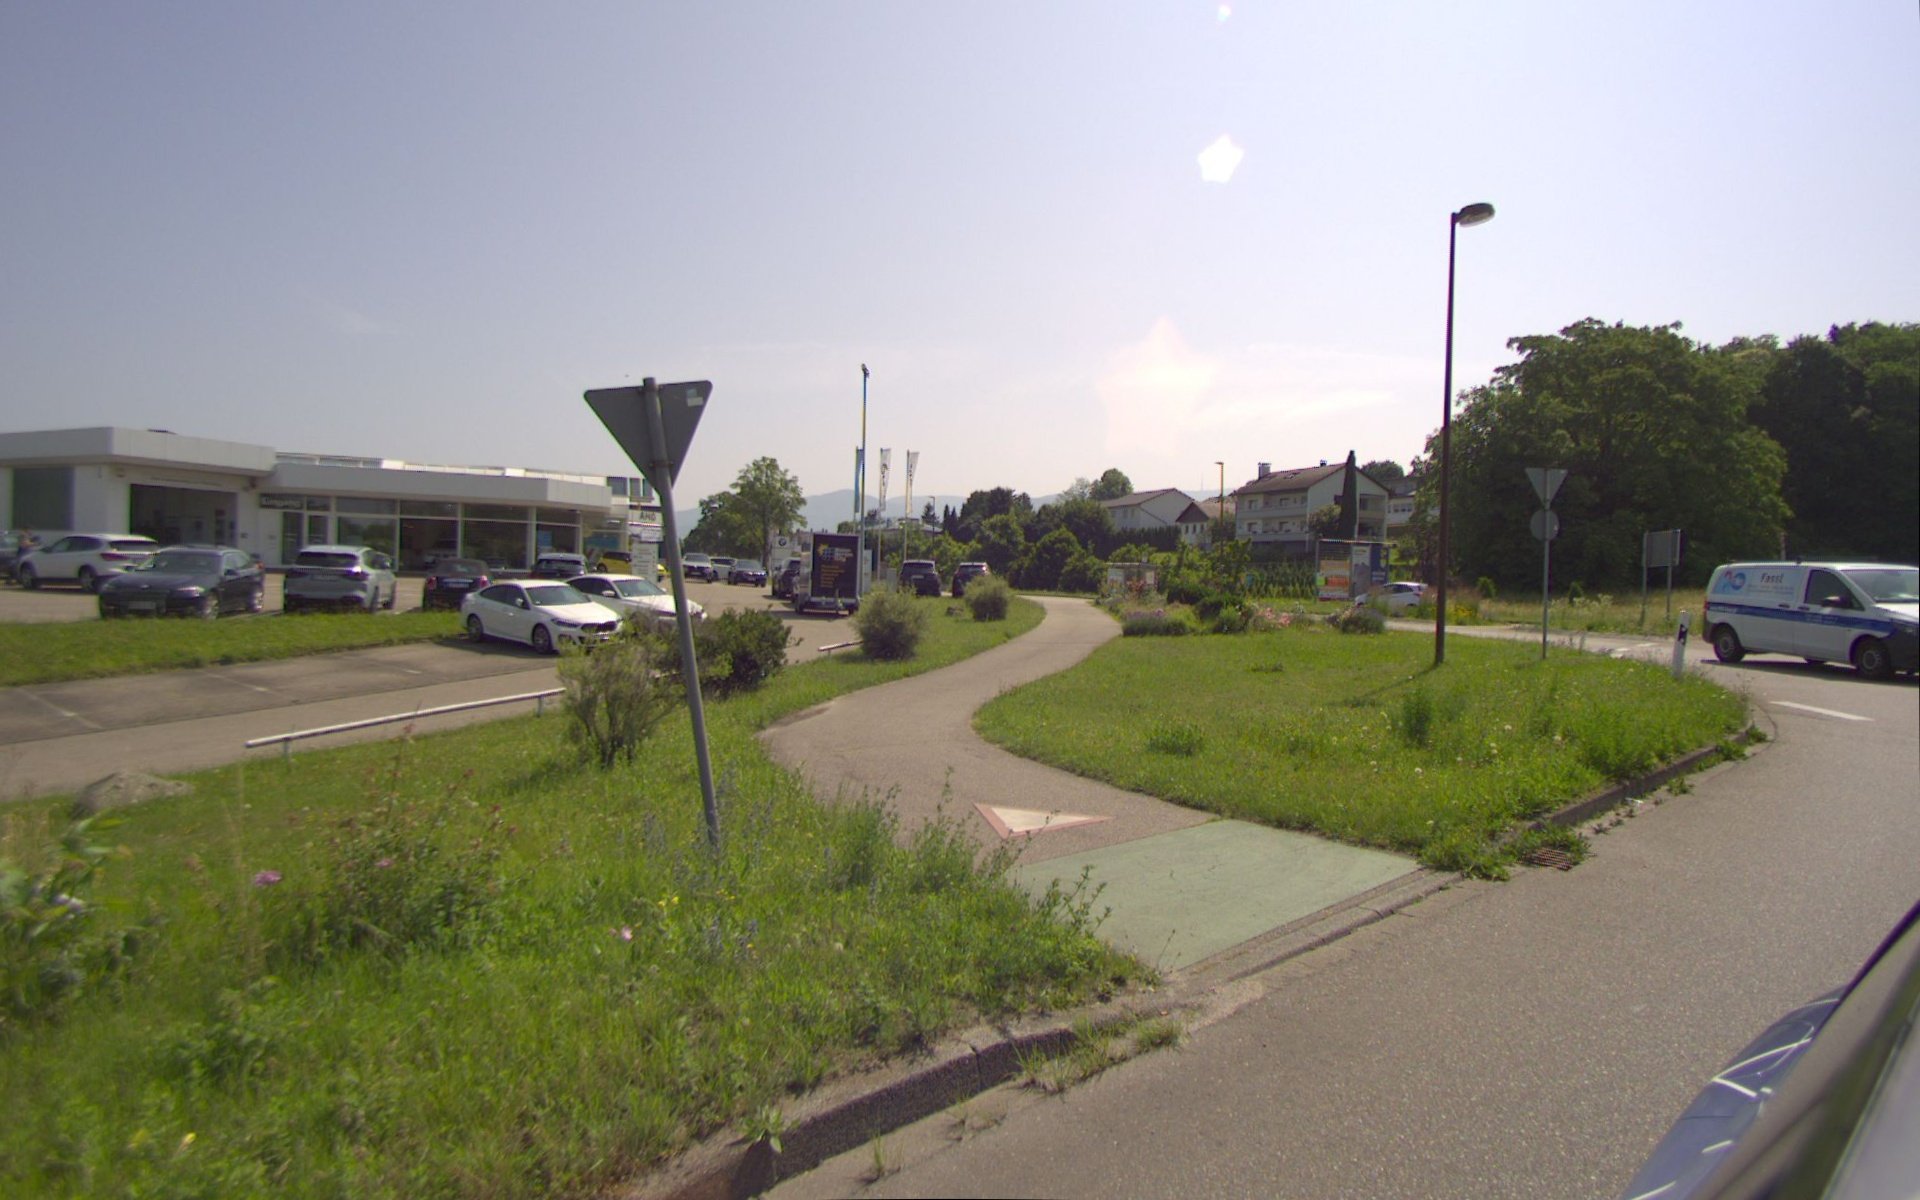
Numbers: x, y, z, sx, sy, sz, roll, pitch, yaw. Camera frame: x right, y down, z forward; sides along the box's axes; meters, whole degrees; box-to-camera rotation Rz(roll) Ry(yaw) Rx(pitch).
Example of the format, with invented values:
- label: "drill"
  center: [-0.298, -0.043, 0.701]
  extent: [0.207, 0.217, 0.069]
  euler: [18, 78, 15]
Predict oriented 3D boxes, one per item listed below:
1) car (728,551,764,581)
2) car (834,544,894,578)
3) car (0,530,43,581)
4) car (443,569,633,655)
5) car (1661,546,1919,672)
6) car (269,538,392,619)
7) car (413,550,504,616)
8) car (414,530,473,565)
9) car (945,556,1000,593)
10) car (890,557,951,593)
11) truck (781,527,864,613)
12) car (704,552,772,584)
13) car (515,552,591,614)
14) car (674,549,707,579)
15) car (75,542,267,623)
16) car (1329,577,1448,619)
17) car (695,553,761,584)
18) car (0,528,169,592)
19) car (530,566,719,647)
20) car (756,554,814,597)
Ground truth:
- label: "car"
  center: [-12.347, -1.945, 58.218]
  extent: [1.548, 1.675, 3.706]
  euler: [-1, 1, -19]
- label: "car"
  center: [-4.647, -1.917, 49.582]
  extent: [1.879, 1.531, 4.365]
  euler: [2, 2, 9]
- label: "car"
  center: [-29.942, -1.352, 30.364]
  extent: [1.908, 1.541, 4.479]
  euler: [0, 2, -18]
- label: "car"
  center: [-9.486, 0.180, 22.619]
  extent: [4.547, 1.589, 1.747]
  euler: [3, 4, 34]
- label: "car"
  center: [15.331, 0.095, 17.543]
  extent: [1.822, 1.962, 5.242]
  euler: [-1, 1, -17]
- label: "car"
  center: [-15.285, -0.591, 24.793]
  extent: [1.909, 1.771, 4.019]
  euler: [1, 3, -22]
- label: "car"
  center: [-13.584, -0.513, 27.623]
  extent: [1.909, 1.518, 4.019]
  euler: [2, 3, -22]
- label: "car"
  center: [-25.167, -2.550, 49.435]
  extent: [1.869, 1.605, 4.051]
  euler: [1, 2, -17]
- label: "car"
  center: [0.620, -1.181, 46.137]
  extent: [1.879, 1.531, 4.365]
  euler: [2, 2, 9]
- label: "car"
  center: [-1.737, -1.163, 45.851]
  extent: [1.879, 1.531, 4.365]
  euler: [2, 2, 9]
- label: "truck"
  center: [-4.811, -1.058, 34.613]
  extent: [1.908, 2.697, 5.641]
  euler: [1, 2, -17]
- label: "car"
  center: [-14.543, -2.076, 66.303]
  extent: [4.172, 2.039, 2.004]
  euler: [-1, 1, -19]
- label: "car"
  center: [-11.919, -0.570, 29.638]
  extent: [1.909, 1.517, 4.439]
  euler: [-1, 5, -22]
- label: "car"
  center: [-15.433, -2.045, 57.852]
  extent: [1.548, 1.675, 3.706]
  euler: [-1, 1, -19]
- label: "car"
  center: [-16.650, -0.413, 21.617]
  extent: [1.908, 1.545, 4.019]
  euler: [1, 2, -17]
- label: "car"
  center: [18.109, -0.068, 42.907]
  extent: [2.088, 1.636, 4.199]
  euler: [2, -1, -34]
- label: "car"
  center: [-15.811, -2.123, 68.905]
  extent: [4.172, 2.039, 2.004]
  euler: [-1, 1, -19]
- label: "car"
  center: [-24.289, -1.119, 28.015]
  extent: [4.209, 1.605, 1.650]
  euler: [2, 2, 16]
- label: "car"
  center: [-8.379, 0.085, 25.158]
  extent: [4.625, 1.589, 1.751]
  euler: [5, 4, 28]
- label: "car"
  center: [-7.366, -1.079, 42.911]
  extent: [1.872, 1.701, 3.822]
  euler: [1, 2, -2]
